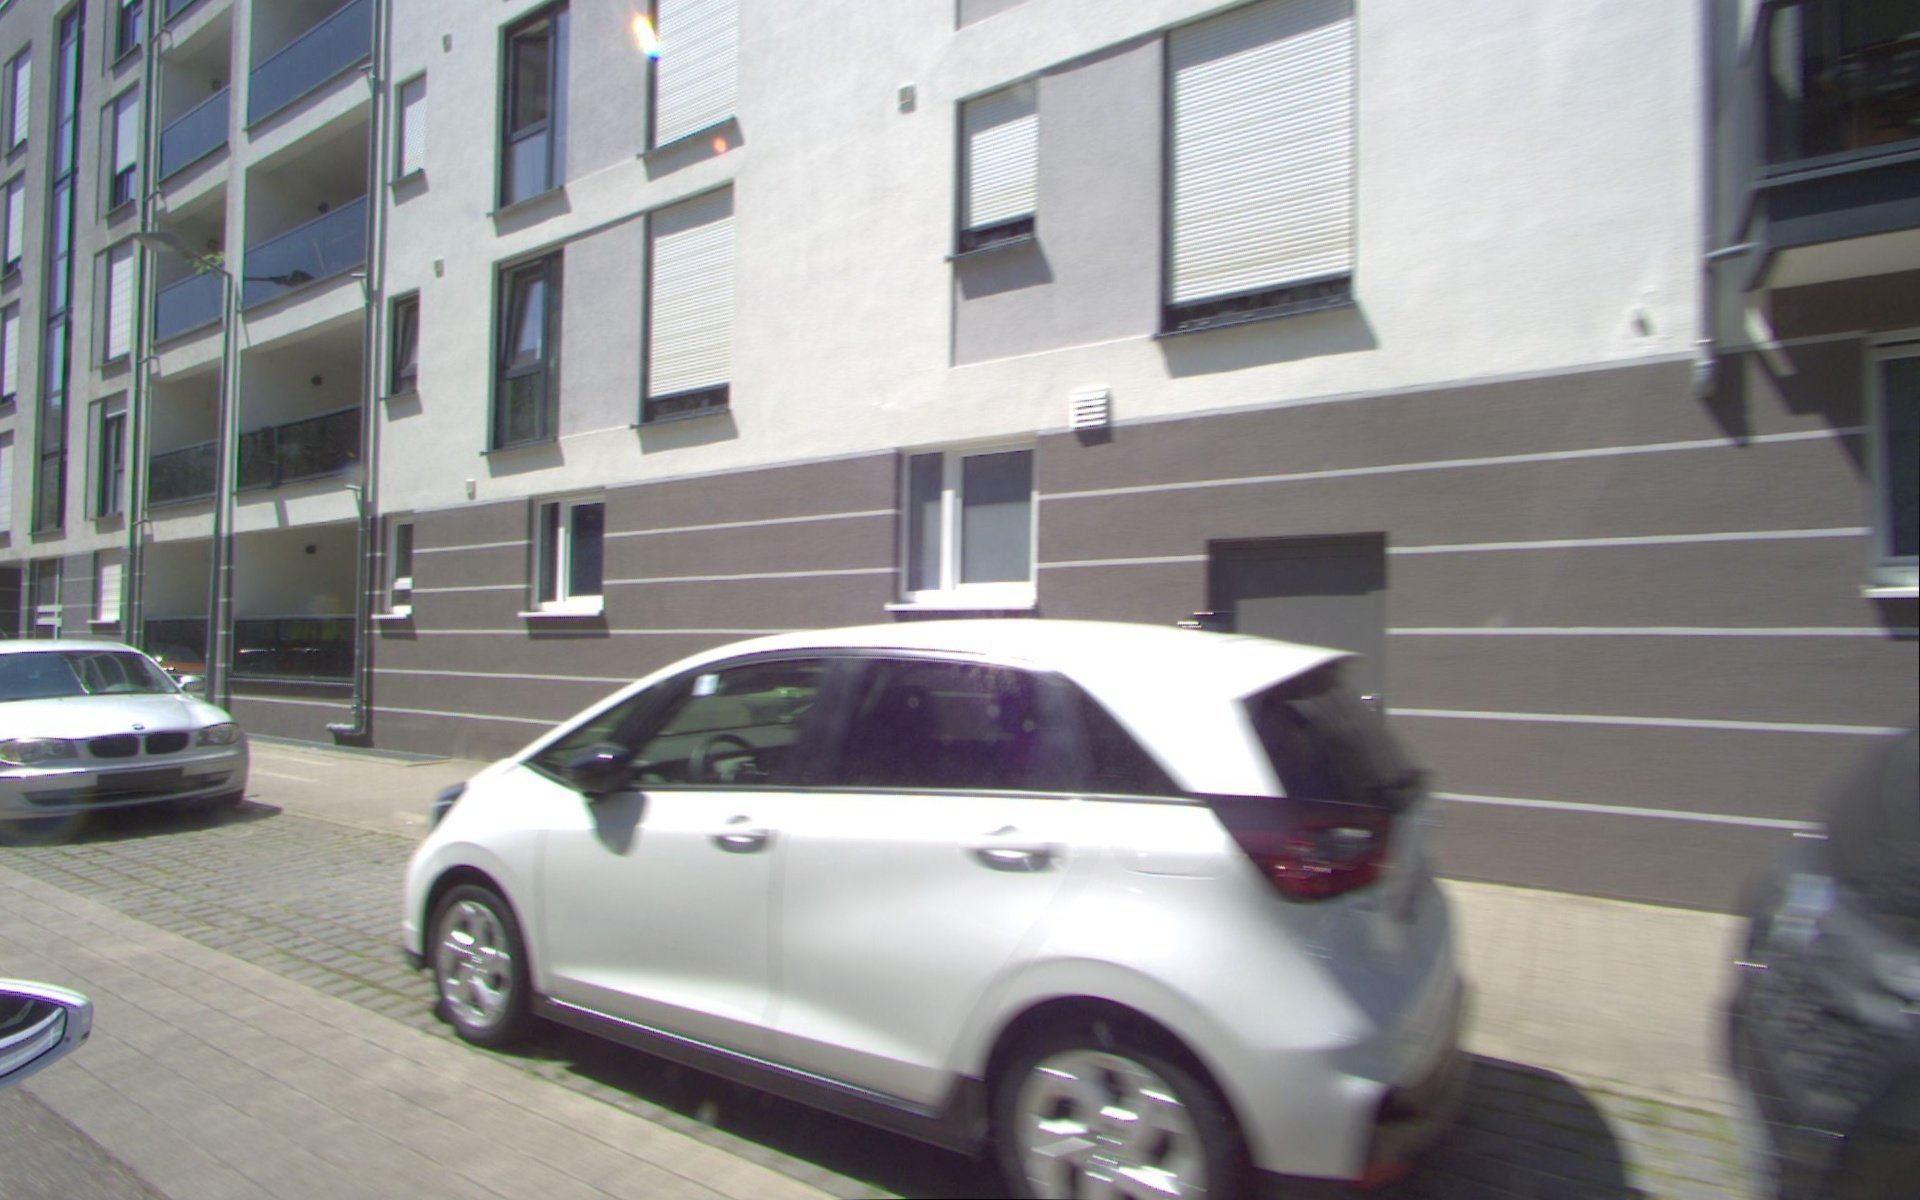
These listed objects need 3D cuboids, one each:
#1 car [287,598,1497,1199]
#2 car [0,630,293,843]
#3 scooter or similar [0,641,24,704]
[{"bbox_3d":[-0.439,0.813,3.696,4.198,1.524,1.804,-1,-2,31],"label":"car"},{"bbox_3d":[-7.803,1.007,8.675,4.365,1.433,1.842,-1,-3,34],"label":"car"},{"bbox_3d":[-19.472,1.451,20.366,0.542,1.240,1.516,4,-4,-42],"label":"scooter or similar"}]
